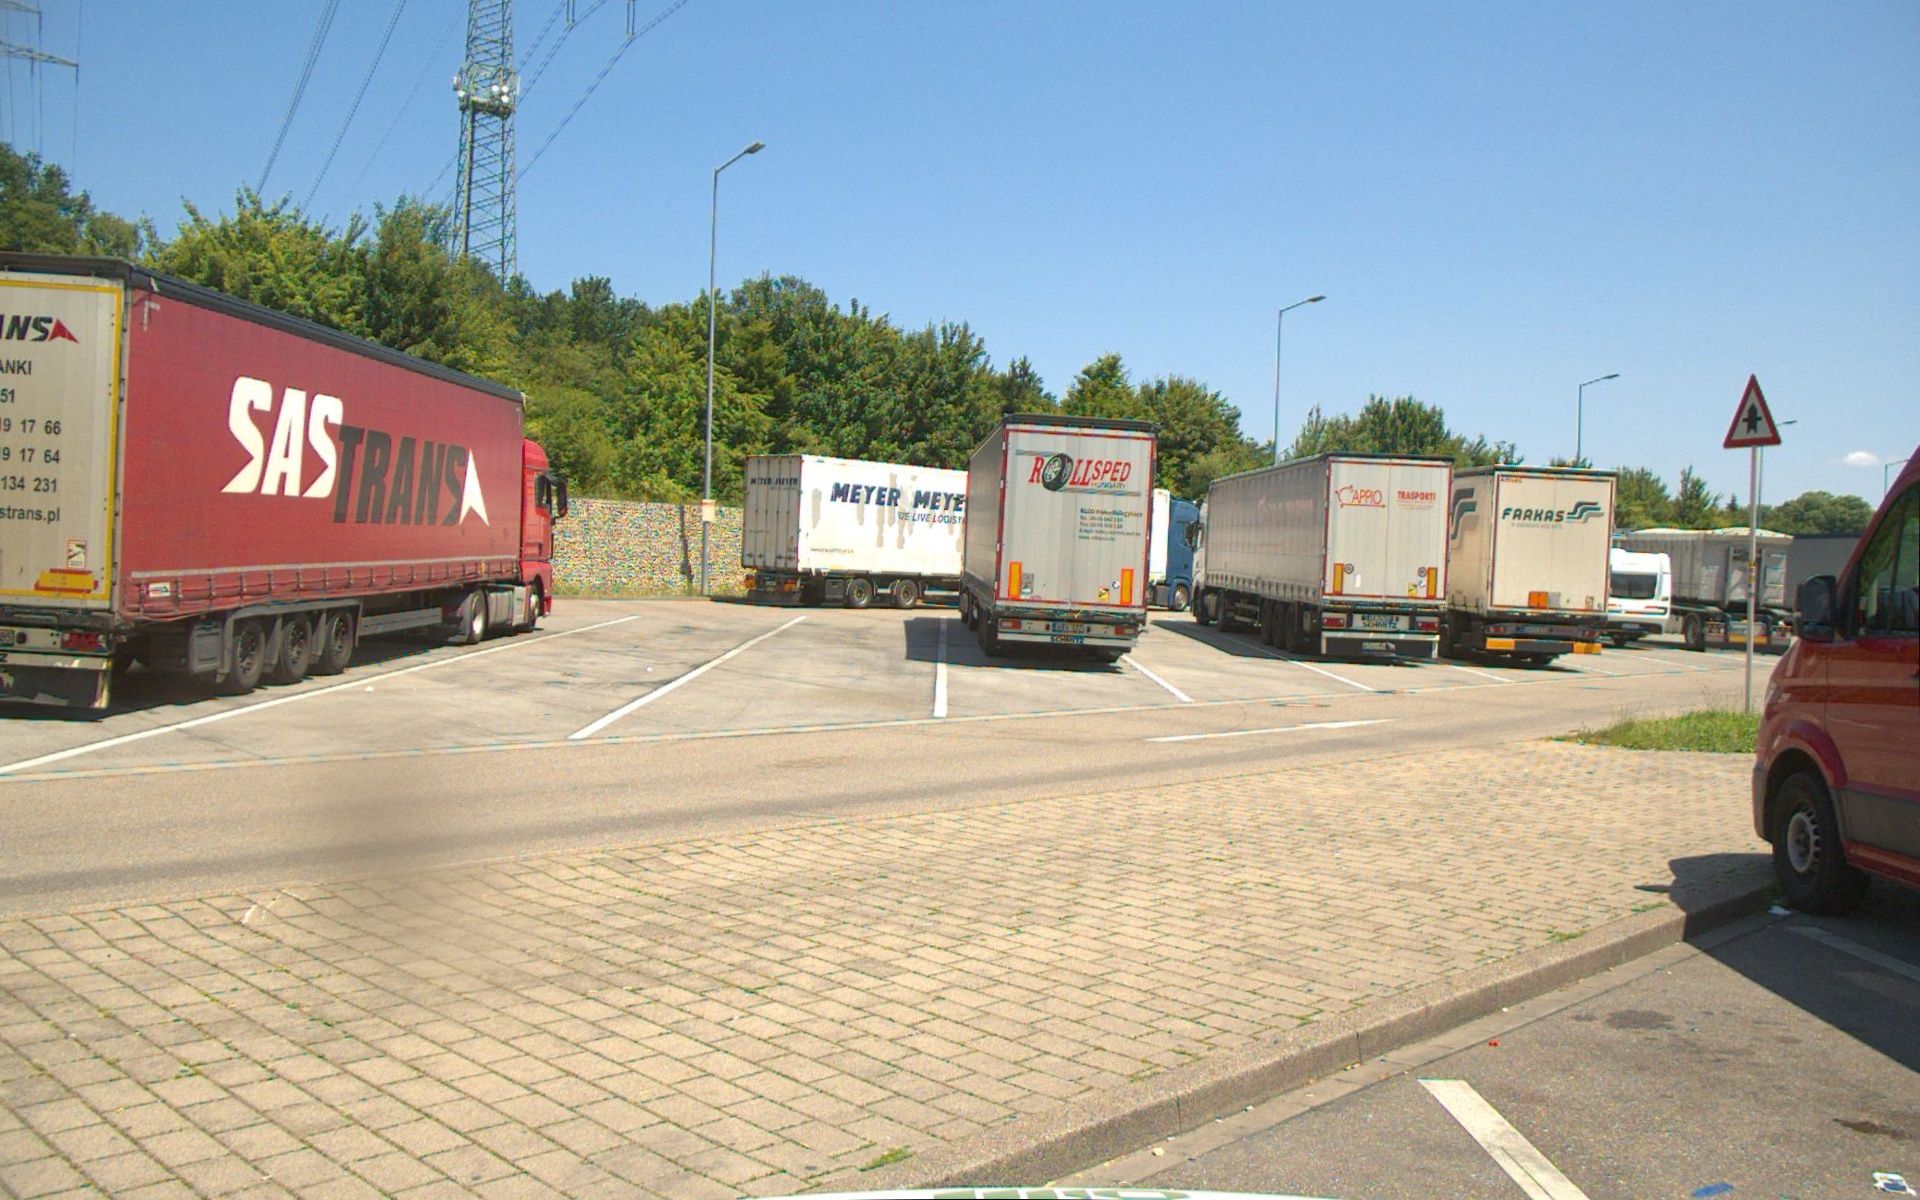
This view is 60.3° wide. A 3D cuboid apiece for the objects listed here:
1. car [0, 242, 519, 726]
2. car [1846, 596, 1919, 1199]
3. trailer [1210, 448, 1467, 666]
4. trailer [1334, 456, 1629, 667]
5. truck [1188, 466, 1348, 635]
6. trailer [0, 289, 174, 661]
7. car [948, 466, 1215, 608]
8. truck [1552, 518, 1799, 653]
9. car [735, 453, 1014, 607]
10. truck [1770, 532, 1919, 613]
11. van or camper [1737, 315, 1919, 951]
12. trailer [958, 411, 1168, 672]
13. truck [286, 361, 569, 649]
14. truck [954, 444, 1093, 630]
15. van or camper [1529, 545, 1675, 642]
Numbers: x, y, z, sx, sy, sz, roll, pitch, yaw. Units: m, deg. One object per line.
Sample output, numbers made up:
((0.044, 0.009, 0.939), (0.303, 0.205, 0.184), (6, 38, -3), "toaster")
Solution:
((-8.685, -1.277, 20.954), (2.641, 4.184, 12.935), (2, 2, 0), "car")
((2.531, 0.796, 1.105), (1.584, 1.509, 3.762), (1, 1, -6), "car")
((8.237, -1.088, 38.098), (2.808, 4.107, 12.438), (2, 2, -1), "trailer")
((11.814, -1.023, 39.215), (2.808, 4.107, 12.438), (2, 2, -1), "trailer")
((8.158, -1.383, 44.729), (2.808, 4.107, 6.956), (2, 2, -1), "truck")
((-12.556, -1.402, 17.155), (2.756, 4.341, 12.940), (2, 2, -1), "trailer")
((4.244, -1.972, 54.934), (10.139, 4.261, 2.646), (0, 3, -45), "car")
((21.740, -0.649, 51.237), (2.437, 3.630, 11.423), (2, 2, -1), "truck")
((-2.330, -1.948, 48.377), (8.405, 4.114, 2.645), (0, 3, -45), "car")
((34.694, -1.069, 63.629), (2.082, 2.869, 9.777), (1, 1, -1), "truck")
((4.981, 0.175, 5.553), (1.954, 2.700, 6.482), (1, 1, 3), "van or camper")
((1.645, -1.237, 33.663), (2.809, 4.107, 14.238), (2, 2, -2), "trailer")
((-8.706, -1.525, 27.871), (2.641, 4.184, 6.239), (2, 2, 0), "truck")
((1.415, -1.563, 40.744), (2.809, 4.107, 7.026), (2, 2, -2), "truck")
((18.259, -0.222, 47.340), (2.061, 2.606, 5.372), (1, 1, 0), "van or camper")
